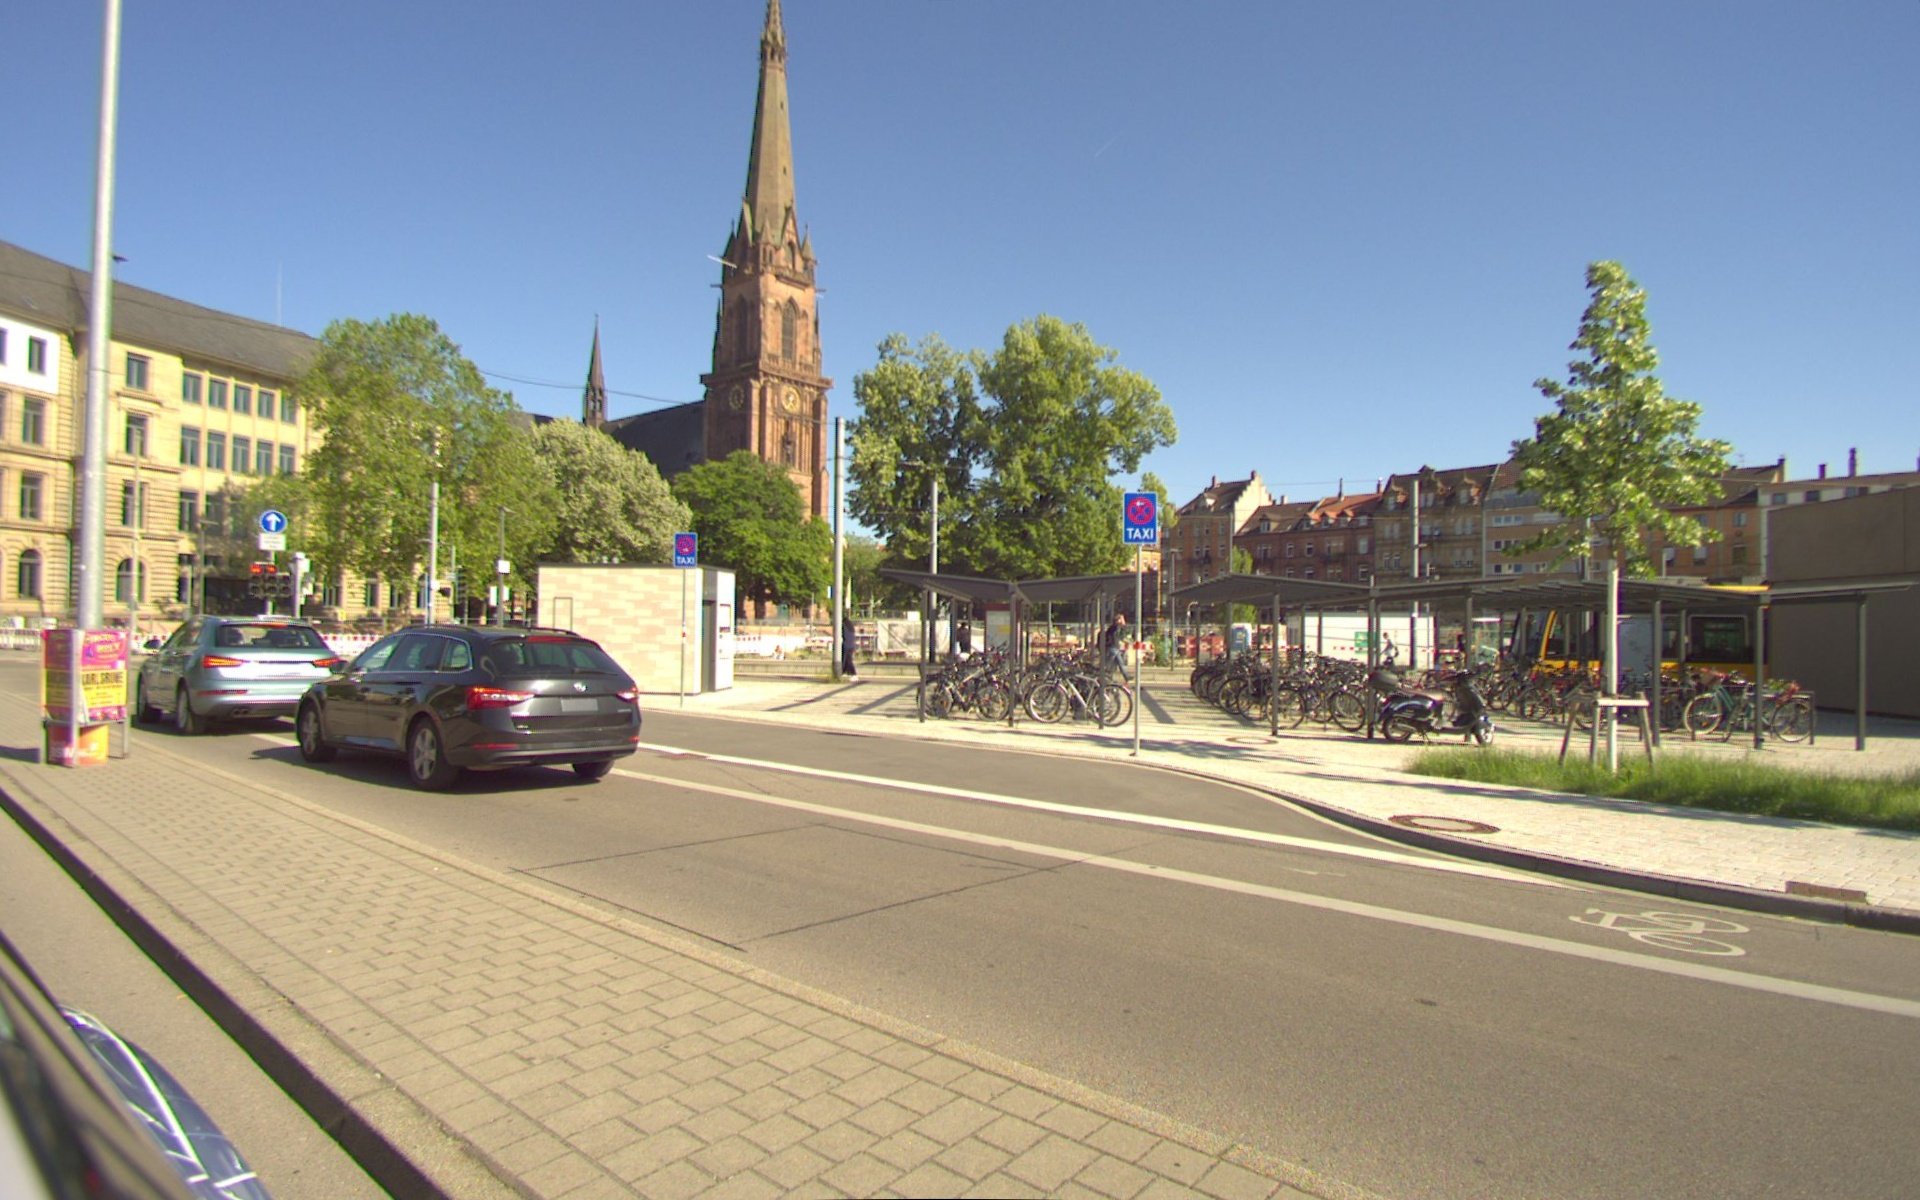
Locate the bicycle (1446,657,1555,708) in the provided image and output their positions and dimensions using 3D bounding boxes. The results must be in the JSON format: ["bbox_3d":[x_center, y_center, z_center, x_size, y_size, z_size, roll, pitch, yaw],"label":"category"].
[{"bbox_3d":[11.858,1.808,22.255,2.048,1.045,0.533,-1,2,8],"label":"bicycle"}]

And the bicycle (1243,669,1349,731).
[{"bbox_3d":[5.785,1.715,17.463,1.661,0.980,0.406,1,0,3],"label":"bicycle"}]

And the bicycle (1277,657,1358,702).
[{"bbox_3d":[8.065,1.794,22.838,1.661,0.980,0.406,-1,0,3],"label":"bicycle"}]

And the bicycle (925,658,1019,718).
[{"bbox_3d":[0.223,1.602,18.601,1.663,1.006,0.406,2,0,8],"label":"bicycle"}]

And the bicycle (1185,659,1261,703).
[{"bbox_3d":[6.129,1.887,23.624,1.661,0.980,0.406,1,-5,3],"label":"bicycle"}]

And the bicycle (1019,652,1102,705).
[{"bbox_3d":[2.185,1.700,22.028,1.755,1.083,0.406,1,0,6],"label":"bicycle"}]

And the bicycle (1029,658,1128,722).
[{"bbox_3d":[2.131,1.622,18.337,1.753,1.083,0.406,1,0,6],"label":"bicycle"}]

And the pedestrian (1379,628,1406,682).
[{"bbox_3d":[16.714,2.117,39.133,0.793,2.029,0.535,0,-2,4],"label":"pedestrian"}]

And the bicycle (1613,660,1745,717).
[{"bbox_3d":[13.844,1.706,19.525,2.048,1.045,0.533,-1,0,8],"label":"bicycle"}]

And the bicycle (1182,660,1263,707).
[{"bbox_3d":[5.778,1.843,22.296,1.661,0.980,0.406,1,-5,3],"label":"bicycle"}]

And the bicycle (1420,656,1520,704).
[{"bbox_3d":[12.292,1.926,24.429,2.048,1.045,0.533,1,3,8],"label":"bicycle"}]

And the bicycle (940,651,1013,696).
[{"bbox_3d":[0.385,1.707,23.662,1.663,1.006,0.406,0,0,8],"label":"bicycle"}]

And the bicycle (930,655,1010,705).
[{"bbox_3d":[0.221,1.681,21.404,1.663,1.006,0.406,0,0,8],"label":"bicycle"}]

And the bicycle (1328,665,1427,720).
[{"bbox_3d":[7.834,1.737,19.013,1.661,0.980,0.406,-1,0,3],"label":"bicycle"}]

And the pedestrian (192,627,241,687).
[{"bbox_3d":[-21.523,1.637,29.312,0.627,1.680,0.924,0,-2,26],"label":"pedestrian"}]

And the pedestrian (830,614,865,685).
[{"bbox_3d":[-3.021,1.333,27.301,0.619,1.874,0.693,-1,-2,37],"label":"pedestrian"}]

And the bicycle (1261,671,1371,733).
[{"bbox_3d":[5.925,1.691,16.889,1.661,0.980,0.406,-1,0,3],"label":"bicycle"}]

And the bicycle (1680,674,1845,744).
[{"bbox_3d":[12.759,1.721,16.138,2.048,1.045,0.533,-1,0,8],"label":"bicycle"}]

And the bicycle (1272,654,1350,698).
[{"bbox_3d":[8.283,1.791,23.915,1.661,0.980,0.406,-1,0,3],"label":"bicycle"}]

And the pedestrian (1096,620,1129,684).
[{"bbox_3d":[4.198,1.418,27.867,0.823,1.740,0.620,0,-2,4],"label":"pedestrian"}]

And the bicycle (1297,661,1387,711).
[{"bbox_3d":[7.853,1.767,20.826,1.661,0.980,0.406,-1,0,3],"label":"bicycle"}]

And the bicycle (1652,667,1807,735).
[{"bbox_3d":[12.981,1.703,17.116,2.030,1.087,0.604,-1,0,7],"label":"bicycle"}]

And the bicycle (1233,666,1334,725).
[{"bbox_3d":[5.807,1.715,18.188,1.661,0.980,0.406,1,0,3],"label":"bicycle"}]

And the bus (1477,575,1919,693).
[{"bbox_3d":[22.296,0.941,28.607,13.462,3.095,2.859,0,-2,6],"label":"bus"}]

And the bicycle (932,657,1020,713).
[{"bbox_3d":[0.320,1.669,19.945,1.663,1.006,0.406,2,0,8],"label":"bicycle"}]

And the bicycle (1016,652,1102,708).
[{"bbox_3d":[2.044,1.648,20.973,1.755,1.083,0.406,1,0,6],"label":"bicycle"}]

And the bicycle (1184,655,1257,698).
[{"bbox_3d":[6.248,1.842,24.312,1.661,0.980,0.406,1,-5,3],"label":"bicycle"}]

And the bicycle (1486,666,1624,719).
[{"bbox_3d":[11.606,1.804,19.790,2.208,0.951,0.685,-1,0,7],"label":"bicycle"}]

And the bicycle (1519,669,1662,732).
[{"bbox_3d":[10.961,1.744,17.640,2.048,1.045,0.533,-1,0,8],"label":"bicycle"}]

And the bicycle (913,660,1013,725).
[{"bbox_3d":[0.059,1.579,17.383,1.663,1.006,0.406,2,0,8],"label":"bicycle"}]

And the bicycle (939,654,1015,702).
[{"bbox_3d":[0.376,1.710,22.284,1.663,1.006,0.406,0,0,8],"label":"bicycle"}]

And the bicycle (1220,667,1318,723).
[{"bbox_3d":[5.720,1.756,18.768,1.661,0.980,0.406,-1,0,3],"label":"bicycle"}]

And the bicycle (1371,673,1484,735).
[{"bbox_3d":[7.760,1.729,16.821,1.661,0.980,0.406,-1,0,3],"label":"bicycle"}]

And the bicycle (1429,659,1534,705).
[{"bbox_3d":[12.023,1.886,23.374,2.048,1.045,0.533,-1,-4,8],"label":"bicycle"}]

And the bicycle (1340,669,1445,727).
[{"bbox_3d":[7.635,1.731,17.892,1.661,0.980,0.406,-1,0,3],"label":"bicycle"}]

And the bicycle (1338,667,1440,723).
[{"bbox_3d":[7.815,1.728,18.460,1.661,0.980,0.406,-1,0,3],"label":"bicycle"}]

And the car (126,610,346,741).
[{"bbox_3d":[-10.435,1.001,14.458,4.259,1.594,1.767,-2,-4,44],"label":"car"}]

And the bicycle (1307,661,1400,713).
[{"bbox_3d":[7.849,1.736,20.229,1.661,0.980,0.406,-1,0,3],"label":"bicycle"}]

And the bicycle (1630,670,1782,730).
[{"bbox_3d":[13.471,1.804,18.330,2.117,1.005,0.690,-1,0,7],"label":"bicycle"}]

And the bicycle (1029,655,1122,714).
[{"bbox_3d":[2.227,1.626,19.582,1.755,1.083,0.406,1,0,6],"label":"bicycle"}]

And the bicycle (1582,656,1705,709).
[{"bbox_3d":[14.070,1.703,20.877,2.048,1.045,0.533,-1,0,8],"label":"bicycle"}]

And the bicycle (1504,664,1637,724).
[{"bbox_3d":[11.314,1.739,18.812,2.048,1.045,0.533,-1,0,8],"label":"bicycle"}]

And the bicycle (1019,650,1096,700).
[{"bbox_3d":[2.264,1.737,23.498,1.755,1.083,0.406,1,0,6],"label":"bicycle"}]

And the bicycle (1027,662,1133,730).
[{"bbox_3d":[2.014,1.611,17.092,1.753,1.083,0.406,1,-3,6],"label":"bicycle"}]

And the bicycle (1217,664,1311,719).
[{"bbox_3d":[5.806,1.743,19.375,1.661,0.980,0.406,1,0,3],"label":"bicycle"}]

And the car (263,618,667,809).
[{"bbox_3d":[-5.181,1.000,10.285,4.779,1.516,1.796,-1,-4,39],"label":"car"}]

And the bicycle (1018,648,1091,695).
[{"bbox_3d":[2.306,1.729,24.678,1.755,1.083,0.406,1,0,6],"label":"bicycle"}]

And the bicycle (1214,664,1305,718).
[{"bbox_3d":[5.893,1.787,19.958,1.661,0.980,0.406,1,0,3],"label":"bicycle"}]

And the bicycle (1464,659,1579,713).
[{"bbox_3d":[11.768,1.801,21.265,2.048,1.045,0.533,-1,2,8],"label":"bicycle"}]

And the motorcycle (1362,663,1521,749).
[{"bbox_3d":[7.185,1.576,15.160,2.059,1.228,0.569,-1,-2,3],"label":"motorcycle"}]

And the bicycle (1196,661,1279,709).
[{"bbox_3d":[5.917,1.811,21.640,1.661,0.980,0.406,1,-5,3],"label":"bicycle"}]

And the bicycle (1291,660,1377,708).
[{"bbox_3d":[7.980,1.796,21.623,1.661,0.980,0.406,-1,0,3],"label":"bicycle"}]

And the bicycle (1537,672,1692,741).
[{"bbox_3d":[10.564,1.717,16.389,2.048,1.045,0.533,-1,0,8],"label":"bicycle"}]

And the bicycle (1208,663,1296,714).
[{"bbox_3d":[5.917,1.791,20.564,1.661,0.980,0.406,1,-5,3],"label":"bicycle"}]

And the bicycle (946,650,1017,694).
[{"bbox_3d":[0.509,1.708,24.187,1.663,1.006,0.406,0,0,8],"label":"bicycle"}]

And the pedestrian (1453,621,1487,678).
[{"bbox_3d":[17.839,1.723,35.422,0.793,1.931,0.769,0,-2,4],"label":"pedestrian"}]

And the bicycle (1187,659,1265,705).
[{"bbox_3d":[6.045,1.866,23.051,1.661,0.980,0.406,1,-5,3],"label":"bicycle"}]

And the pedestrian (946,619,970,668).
[{"bbox_3d":[-0.066,1.688,39.124,0.610,1.874,0.703,2,-2,-39],"label":"pedestrian"}]
